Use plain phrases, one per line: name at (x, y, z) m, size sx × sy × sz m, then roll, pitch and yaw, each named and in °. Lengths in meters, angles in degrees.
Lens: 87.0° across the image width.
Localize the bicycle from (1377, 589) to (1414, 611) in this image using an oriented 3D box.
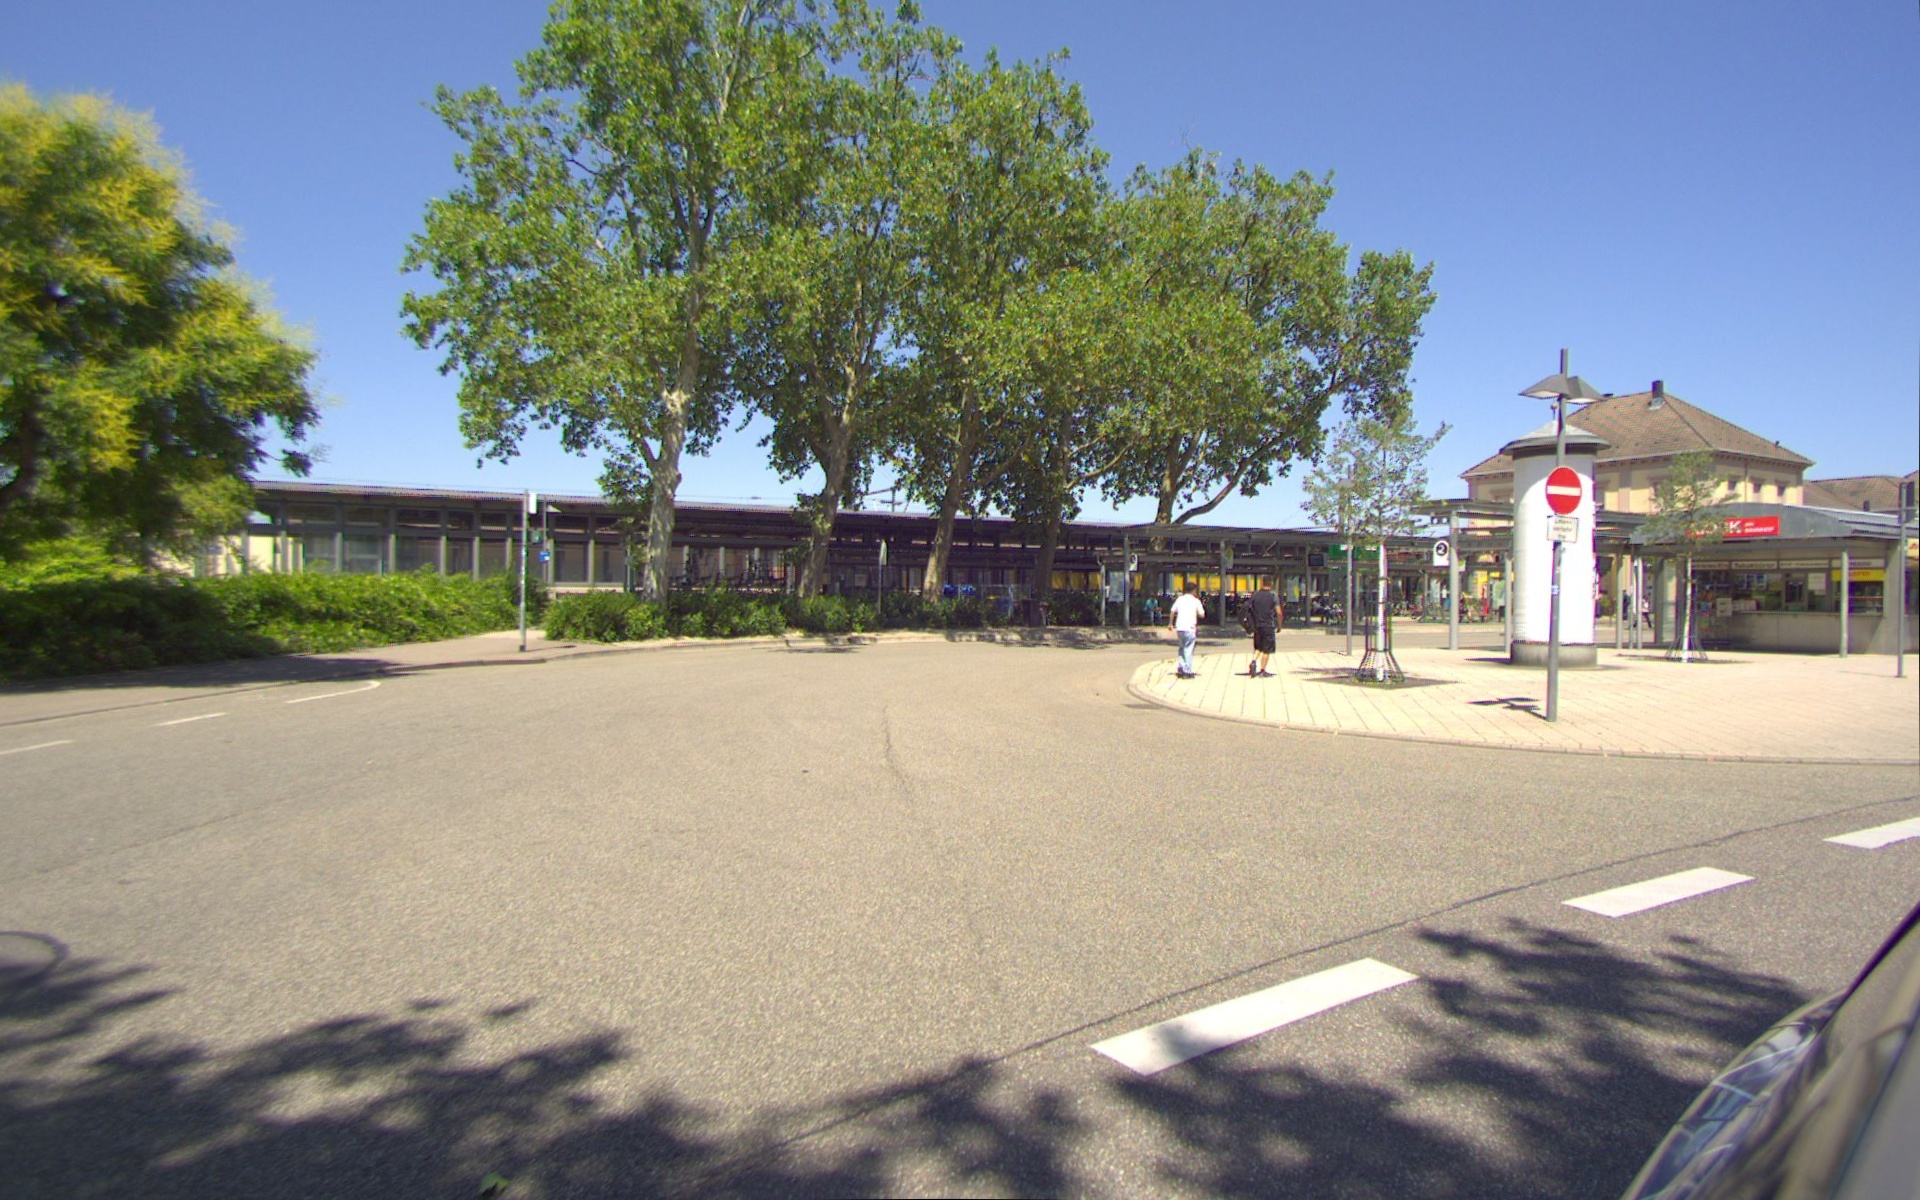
bicycle at (24.313, -0.002, 56.502) m, size 2.125 × 1.086 × 0.672 m, roll -3°, pitch 4°, yaw -24°

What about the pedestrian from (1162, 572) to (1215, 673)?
pedestrian at (4.103, 0.391, 18.152) m, size 0.901 × 1.758 × 0.673 m, roll 0°, pitch 0°, yaw 14°

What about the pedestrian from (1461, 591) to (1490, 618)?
pedestrian at (25.397, 0.211, 49.839) m, size 0.814 × 1.321 × 0.964 m, roll 0°, pitch 0°, yaw -26°

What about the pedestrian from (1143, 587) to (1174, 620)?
pedestrian at (7.963, 0.131, 40.632) m, size 0.851 × 1.291 × 0.832 m, roll 0°, pitch 0°, yaw -31°

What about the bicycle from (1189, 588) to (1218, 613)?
bicycle at (11.738, 0.014, 48.769) m, size 0.666 × 1.086 × 2.144 m, roll 1°, pitch 4°, yaw 34°

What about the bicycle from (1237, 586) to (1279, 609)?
bicycle at (15.351, -0.132, 52.090) m, size 2.125 × 1.086 × 0.672 m, roll -3°, pitch 4°, yaw -24°

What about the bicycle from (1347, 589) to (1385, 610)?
bicycle at (23.123, -0.036, 57.709) m, size 0.656 × 1.086 × 2.175 m, roll -3°, pitch 4°, yaw -23°

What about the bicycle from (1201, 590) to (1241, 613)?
bicycle at (14.121, 0.078, 54.720) m, size 2.125 × 1.086 × 0.672 m, roll -3°, pitch 4°, yaw -24°

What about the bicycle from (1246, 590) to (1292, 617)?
bicycle at (14.318, 0.146, 46.886) m, size 0.657 × 1.086 × 2.173 m, roll -3°, pitch 4°, yaw -30°

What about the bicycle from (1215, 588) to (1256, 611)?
bicycle at (14.588, -0.016, 53.610) m, size 2.125 × 1.086 × 0.672 m, roll -3°, pitch 4°, yaw -24°

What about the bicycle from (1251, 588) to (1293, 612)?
bicycle at (15.772, -0.002, 51.111) m, size 2.125 × 1.086 × 0.672 m, roll -3°, pitch 4°, yaw -24°

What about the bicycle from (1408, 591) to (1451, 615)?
bicycle at (24.357, 0.136, 52.536) m, size 0.656 × 1.086 × 2.175 m, roll -3°, pitch 4°, yaw -23°

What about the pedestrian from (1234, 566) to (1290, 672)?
pedestrian at (5.315, 0.317, 17.835) m, size 0.902 × 1.807 × 0.691 m, roll 0°, pitch 0°, yaw 15°

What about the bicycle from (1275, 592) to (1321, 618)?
bicycle at (15.887, 0.225, 47.648) m, size 0.657 × 1.086 × 2.173 m, roll -3°, pitch 4°, yaw -30°

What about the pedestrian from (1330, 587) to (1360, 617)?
pedestrian at (17.347, 0.100, 45.648) m, size 0.814 × 1.321 × 0.964 m, roll 0°, pitch 0°, yaw -26°

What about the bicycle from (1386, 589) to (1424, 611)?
bicycle at (24.534, -0.015, 55.813) m, size 2.125 × 1.086 × 0.672 m, roll -3°, pitch 4°, yaw -24°

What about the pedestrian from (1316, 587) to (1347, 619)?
pedestrian at (16.590, 0.139, 45.191) m, size 0.814 × 1.403 × 0.964 m, roll 0°, pitch 0°, yaw -26°

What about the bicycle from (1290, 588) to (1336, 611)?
bicycle at (18.893, -0.047, 54.151) m, size 0.850 × 1.086 × 2.164 m, roll -5°, pitch 5°, yaw -44°
